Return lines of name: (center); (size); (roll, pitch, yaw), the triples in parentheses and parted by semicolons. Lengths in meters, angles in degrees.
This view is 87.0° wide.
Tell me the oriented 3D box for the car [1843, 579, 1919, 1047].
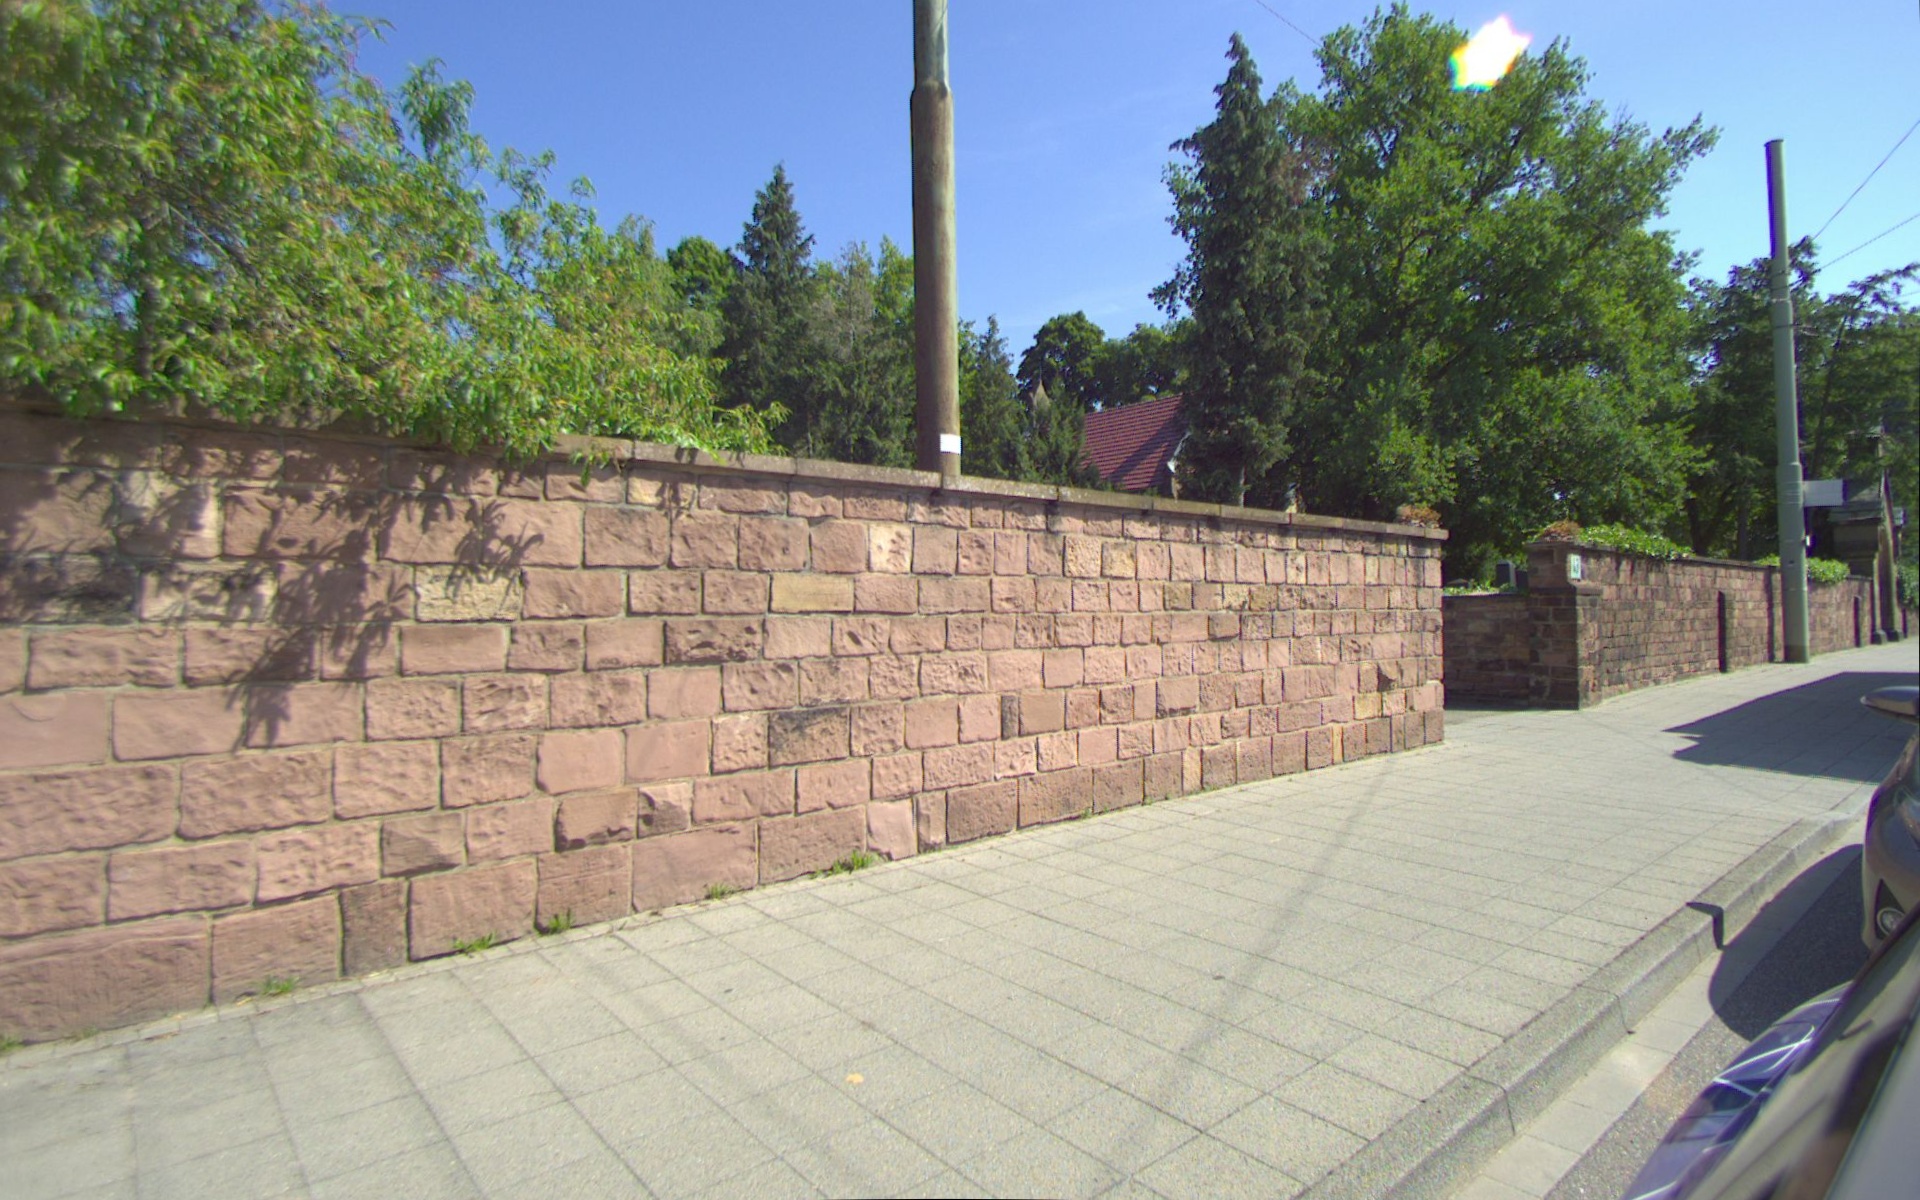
car: (5.082, 0.663, 4.051); (4.384, 1.450, 1.741); (0, 1, -41)
